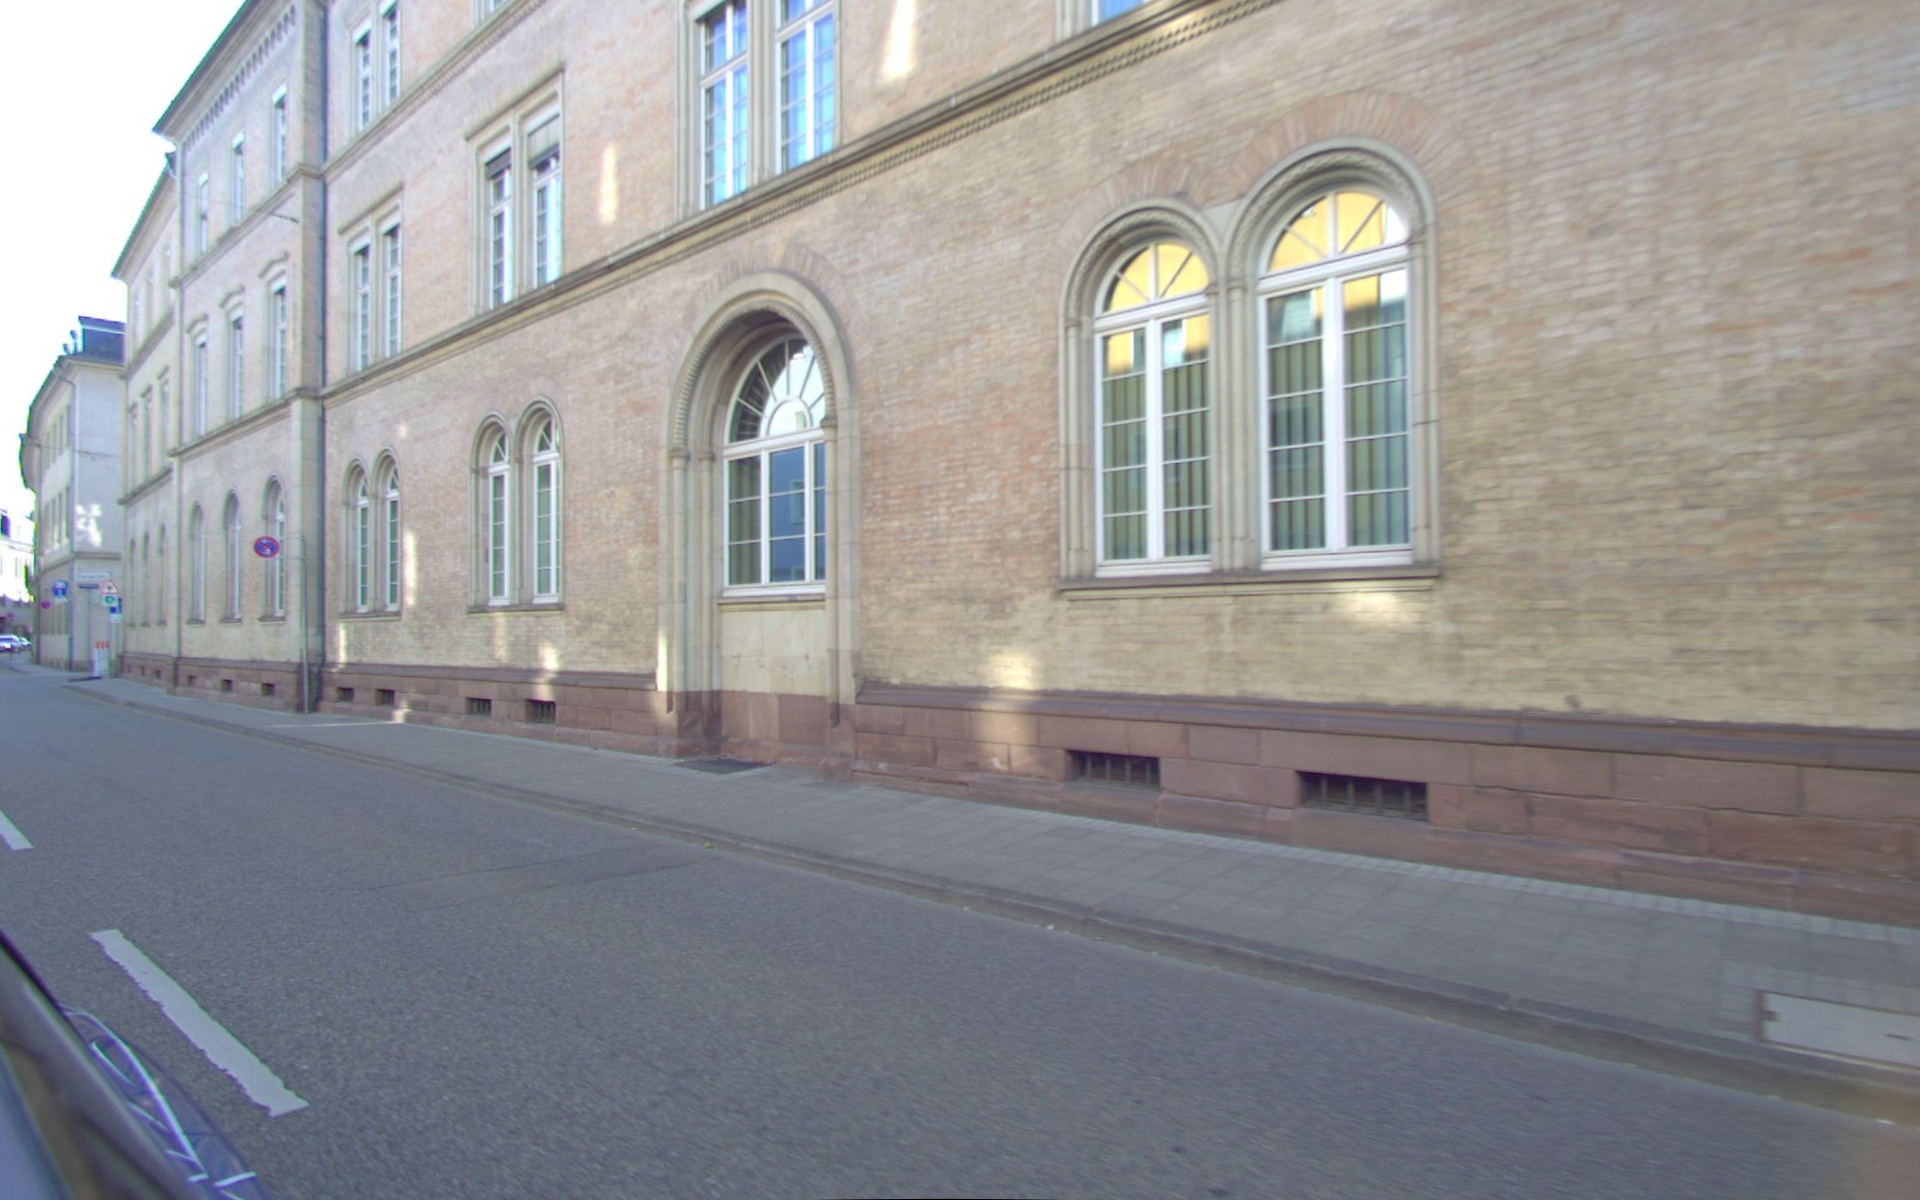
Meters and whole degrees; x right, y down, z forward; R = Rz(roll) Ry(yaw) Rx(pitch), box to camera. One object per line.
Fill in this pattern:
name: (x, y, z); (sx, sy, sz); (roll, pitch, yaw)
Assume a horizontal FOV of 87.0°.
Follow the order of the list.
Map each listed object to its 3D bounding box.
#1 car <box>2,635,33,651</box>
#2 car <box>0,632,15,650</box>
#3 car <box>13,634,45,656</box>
car: (-105.816, 4.772, 113.653); (1.897, 1.737, 4.241); (1, -2, -34)
car: (-94.077, 4.014, 98.823); (1.892, 1.735, 4.972); (0, -2, -35)
car: (-75.777, 3.613, 82.408); (1.639, 1.737, 3.746); (1, -2, -39)
